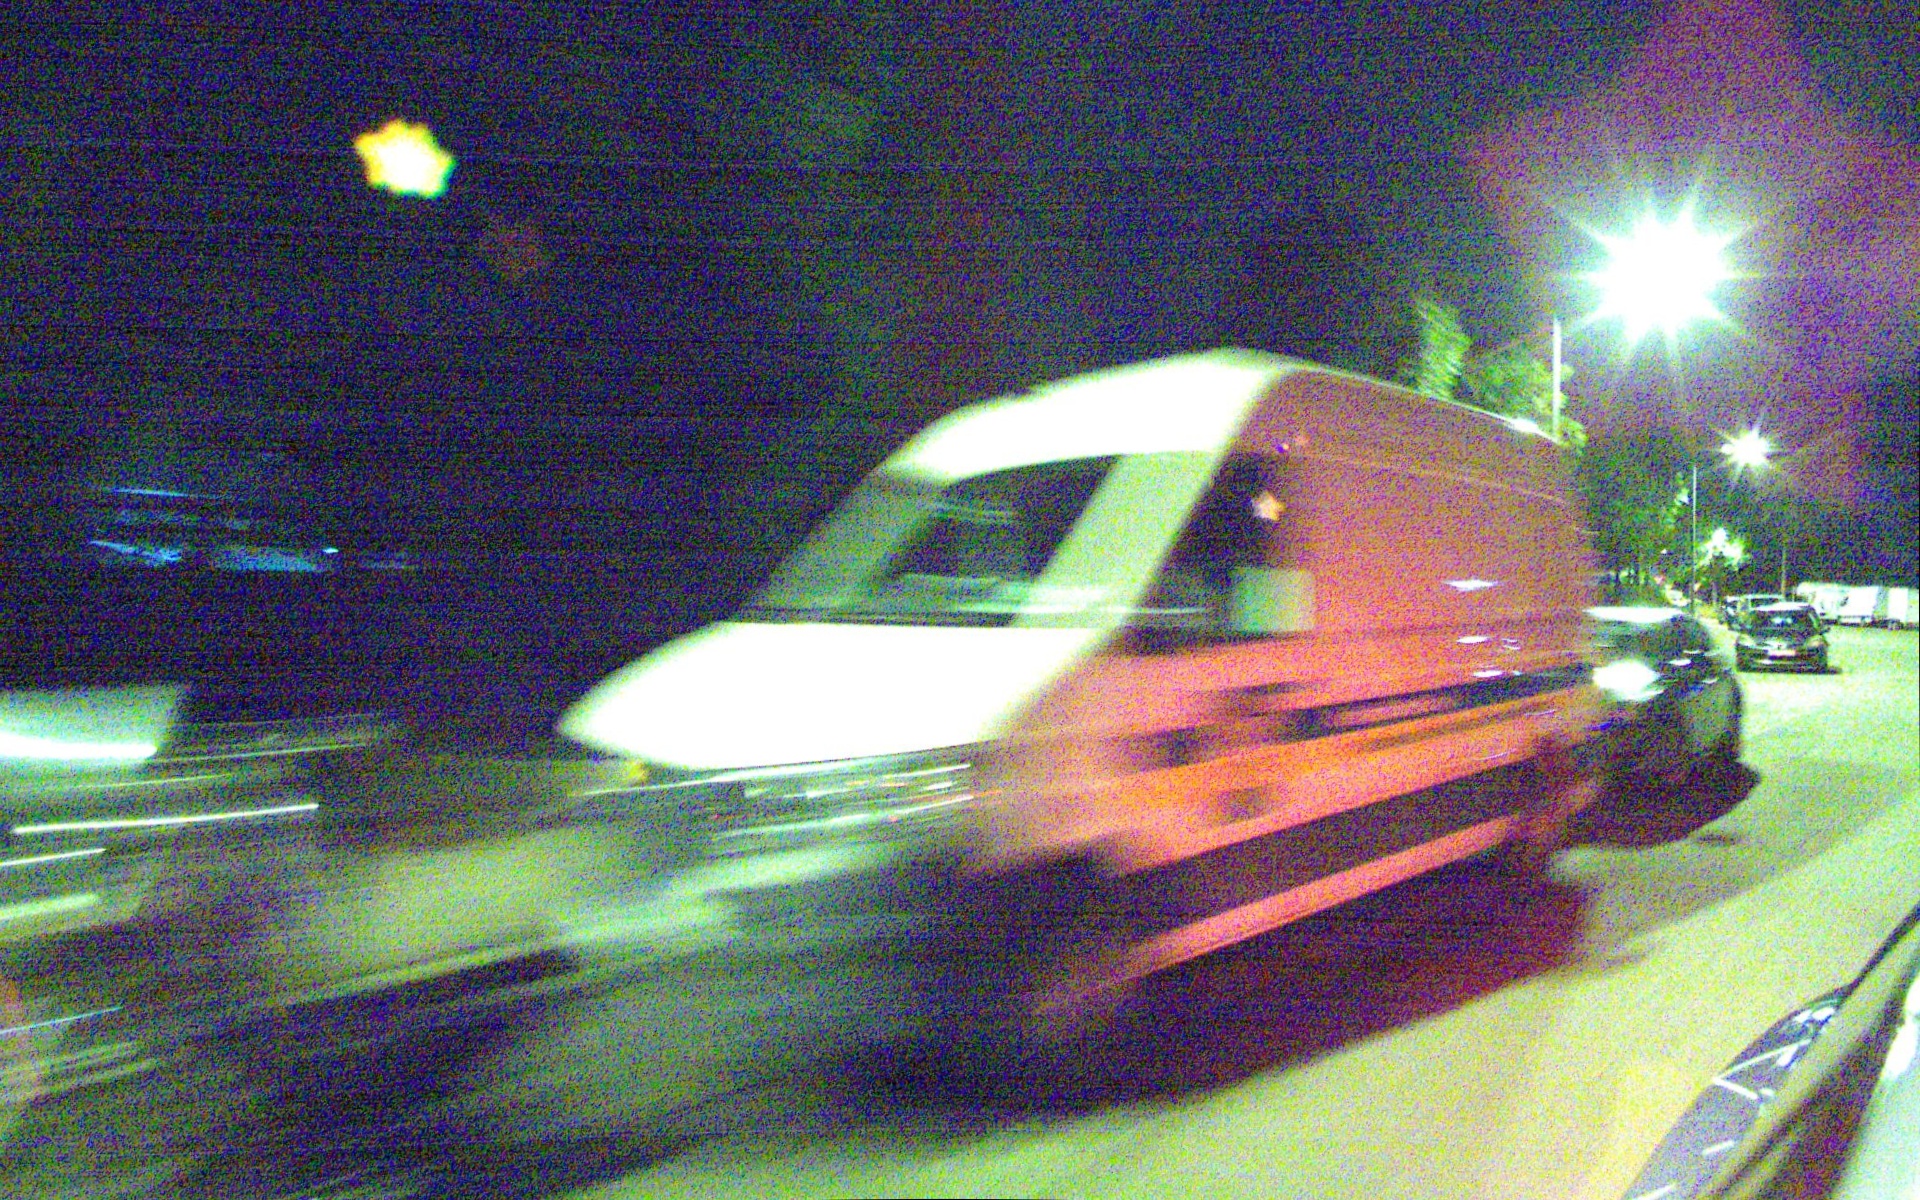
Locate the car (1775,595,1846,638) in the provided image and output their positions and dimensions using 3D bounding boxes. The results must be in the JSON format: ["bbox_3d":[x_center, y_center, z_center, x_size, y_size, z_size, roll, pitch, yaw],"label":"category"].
[{"bbox_3d":[31.942,0.600,38.095,1.602,1.531,3.778,-2,-1,34],"label":"car"}]

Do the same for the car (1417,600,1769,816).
[{"bbox_3d":[6.039,0.771,9.387,4.563,1.527,1.712,0,-1,-44],"label":"car"}]

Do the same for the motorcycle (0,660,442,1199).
[{"bbox_3d":[-2.113,0.817,2.566,0.753,1.198,2.188,0,0,-8],"label":"motorcycle"}]

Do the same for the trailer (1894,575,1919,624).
[{"bbox_3d":[56.653,0.028,59.290,1.988,2.800,3.955,3,1,32],"label":"trailer"}]

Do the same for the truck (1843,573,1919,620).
[{"bbox_3d":[59.671,-0.234,65.458,1.980,2.819,7.177,1,1,26],"label":"truck"}]

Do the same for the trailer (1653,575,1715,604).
[{"bbox_3d":[54.009,-0.785,75.634,1.469,2.039,4.977,1,1,6],"label":"trailer"}]

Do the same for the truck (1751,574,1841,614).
[{"bbox_3d":[68.305,-0.511,82.947,2.718,3.104,9.275,1,1,20],"label":"truck"}]

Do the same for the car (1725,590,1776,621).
[{"bbox_3d":[47.706,0.277,61.165,1.719,1.802,4.273,0,0,28],"label":"car"}]

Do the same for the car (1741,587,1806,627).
[{"bbox_3d":[43.787,0.391,54.601,1.984,2.039,5.295,-1,-1,31],"label":"car"}]

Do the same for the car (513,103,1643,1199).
[{"bbox_3d":[1.217,0.157,4.981,5.944,2.559,2.024,0,0,-40],"label":"car"}]

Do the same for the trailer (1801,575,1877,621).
[{"bbox_3d":[63.466,-0.184,73.248,2.469,3.111,7.872,1,1,29],"label":"trailer"}]

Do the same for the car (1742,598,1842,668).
[{"bbox_3d":[19.718,0.707,24.041,1.708,1.527,3.943,0,0,39],"label":"car"}]
